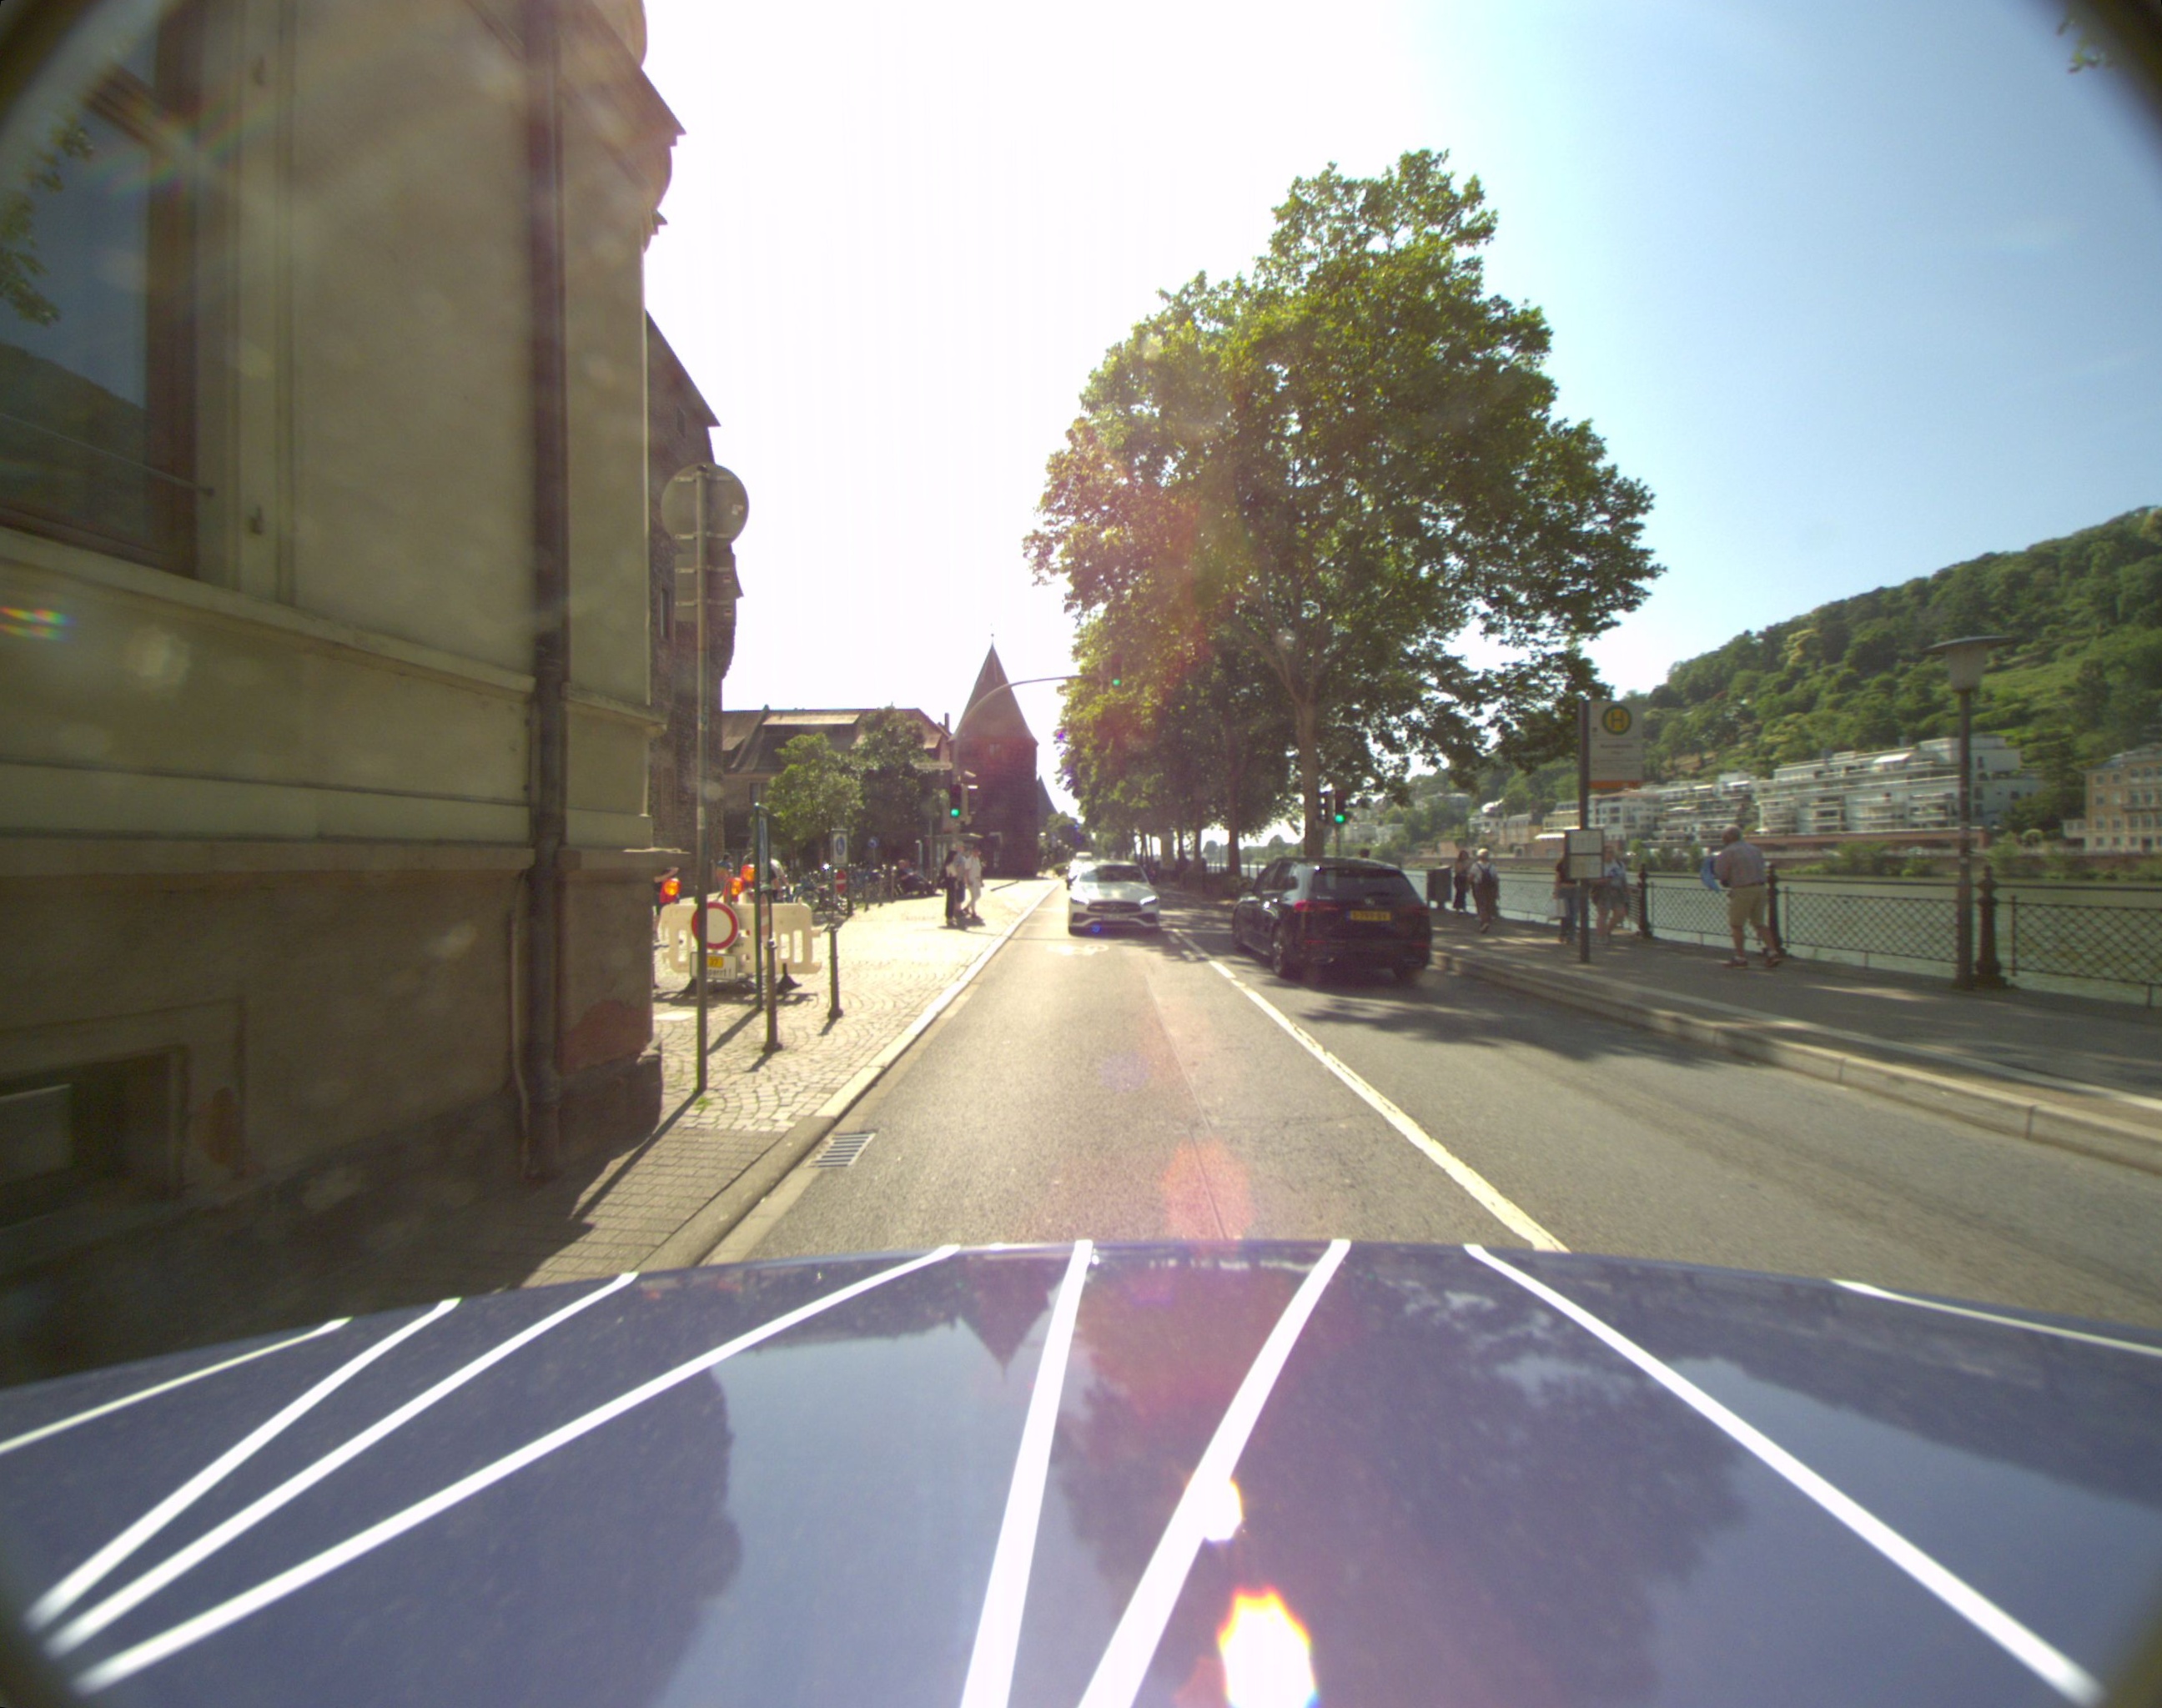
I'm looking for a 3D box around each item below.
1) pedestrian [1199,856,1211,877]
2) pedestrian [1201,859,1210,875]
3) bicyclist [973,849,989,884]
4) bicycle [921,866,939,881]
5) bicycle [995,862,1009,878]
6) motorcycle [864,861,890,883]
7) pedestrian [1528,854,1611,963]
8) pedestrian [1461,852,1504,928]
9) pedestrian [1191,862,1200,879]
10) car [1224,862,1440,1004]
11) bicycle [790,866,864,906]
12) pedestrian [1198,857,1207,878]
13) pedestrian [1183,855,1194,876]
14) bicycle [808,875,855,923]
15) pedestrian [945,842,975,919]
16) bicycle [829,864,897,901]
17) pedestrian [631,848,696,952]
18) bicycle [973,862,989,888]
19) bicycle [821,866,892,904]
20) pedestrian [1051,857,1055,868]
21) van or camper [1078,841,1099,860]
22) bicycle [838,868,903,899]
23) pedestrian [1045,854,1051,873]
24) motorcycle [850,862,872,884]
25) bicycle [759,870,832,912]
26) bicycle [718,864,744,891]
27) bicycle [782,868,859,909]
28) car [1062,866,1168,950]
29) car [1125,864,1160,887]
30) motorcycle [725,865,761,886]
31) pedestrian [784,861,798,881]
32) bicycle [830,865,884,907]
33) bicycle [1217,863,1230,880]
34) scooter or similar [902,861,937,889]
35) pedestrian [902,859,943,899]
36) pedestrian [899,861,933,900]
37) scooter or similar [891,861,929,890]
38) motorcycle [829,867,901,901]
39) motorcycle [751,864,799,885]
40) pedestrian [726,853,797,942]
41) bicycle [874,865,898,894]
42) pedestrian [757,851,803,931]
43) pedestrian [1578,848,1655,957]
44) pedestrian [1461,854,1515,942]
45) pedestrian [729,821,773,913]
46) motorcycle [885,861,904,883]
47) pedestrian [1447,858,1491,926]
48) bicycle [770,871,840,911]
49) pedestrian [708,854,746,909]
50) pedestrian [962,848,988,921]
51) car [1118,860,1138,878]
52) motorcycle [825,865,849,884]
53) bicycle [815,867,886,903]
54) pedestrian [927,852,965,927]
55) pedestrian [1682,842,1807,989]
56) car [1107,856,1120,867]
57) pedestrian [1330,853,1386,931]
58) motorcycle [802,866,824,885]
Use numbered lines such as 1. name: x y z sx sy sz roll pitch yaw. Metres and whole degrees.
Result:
1. pedestrian: 9.860 0.981 60.516 0.793 1.673 0.709 0 1 0
2. pedestrian: 9.961 1.046 60.679 0.633 1.312 0.553 0 1 0
3. bicyclist: -4.608 0.568 34.924 0.711 1.619 0.886 0 1 -7
4. bicycle: -10.805 1.382 54.518 0.659 0.996 1.714 -1 0 11
5. bicycle: -5.851 1.187 56.509 0.845 1.146 1.844 0 0 0
6. motorcycle: -11.693 1.015 43.658 0.740 1.229 2.272 0 0 3
7. pedestrian: 7.838 0.846 12.226 0.837 1.703 0.782 0 1 0
8. pedestrian: 9.211 0.812 17.451 0.620 1.690 0.696 -1 1 0
9. pedestrian: 9.085 1.303 60.533 0.633 1.312 0.553 0 0 0
10. car: 3.263 0.920 10.823 1.705 1.509 4.405 2 0 2
11. bicycle: -7.863 0.981 23.537 2.085 1.191 0.527 -1 -1 -1
12. pedestrian: 9.721 1.076 60.632 0.633 1.618 0.553 0 1 0
13. pedestrian: 8.725 0.938 61.610 0.760 1.720 0.730 0 1 0
14. bicycle: -6.000 1.065 18.360 0.509 0.998 1.579 -1 3 3
15. pedestrian: -2.968 0.638 18.672 0.617 1.841 0.730 0 1 1
16. bicycle: -7.447 0.964 26.040 2.085 1.191 0.776 -1 -1 -1
17. pedestrian: -8.009 0.850 14.590 0.788 1.930 0.807 0 1 34
18. bicycle: -4.621 0.949 35.049 0.691 1.123 2.008 0 0 -7
19. bicycle: -7.442 1.015 25.256 2.085 1.191 0.776 -1 -1 -1
20. pedestrian: -4.015 1.196 110.051 0.592 1.662 0.442 0 0 0
21. van or camper: 0.916 -0.407 94.085 2.437 2.271 6.204 0 0 0
22. bicycle: -7.425 1.035 26.857 2.029 1.059 0.801 -1 -1 -1
23. pedestrian: -3.274 0.958 75.506 0.556 1.844 1.023 0 0 1
24. motorcycle: -12.608 1.076 43.553 0.671 1.224 1.807 -1 -1 3
25. bicycle: -7.931 1.026 21.148 1.797 1.104 0.563 -1 -1 -1
26. bicycle: -15.527 1.030 33.726 0.527 1.154 1.925 0 0 -9
27. bicycle: -7.858 1.032 22.934 2.085 1.191 0.608 -1 -1 -1
28. car: 0.639 1.013 15.986 1.875 1.415 4.745 1 0 1
29. car: 3.873 1.344 48.696 1.845 1.262 4.262 3 0 0
30. motorcycle: -20.190 1.277 45.470 0.598 1.229 2.050 0 0 27
31. pedestrian: -21.542 1.272 56.448 0.660 1.413 0.675 0 2 31
32. bicycle: -8.363 1.189 28.390 1.552 1.190 0.726 -15 -2 7
33. bicycle: 10.033 1.200 53.539 0.564 1.146 1.844 -2 0 0
34. scooter or similar: -7.365 0.949 34.731 1.434 1.208 0.652 -2 1 0
35. pedestrian: -5.348 0.837 25.749 1.250 1.300 0.693 0 1 -1
36. pedestrian: -5.449 0.866 25.070 0.963 1.274 0.693 -1 1 -1
37. scooter or similar: -7.476 0.944 33.256 1.434 1.208 0.652 -2 1 0
38. motorcycle: -7.384 1.010 26.040 2.210 1.097 0.776 -1 -1 -1
39. motorcycle: -17.308 1.175 43.038 2.342 1.140 0.878 -1 0 4
40. pedestrian: -6.604 0.869 15.715 0.924 1.755 0.992 0 1 32
41. bicycle: -7.973 1.025 31.036 0.548 1.125 1.733 -1 0 -29
42. pedestrian: -6.779 0.797 17.098 0.806 1.743 0.907 -1 1 -33
43. pedestrian: 8.704 0.762 12.375 0.654 1.703 0.793 1 0 0
44. pedestrian: 7.757 0.813 14.521 0.495 1.608 0.991 0 0 0
45. pedestrian: -7.173 0.273 16.515 0.657 1.949 0.937 -1 1 -37
46. motorcycle: -10.800 1.030 44.013 0.660 1.229 2.216 0 0 -3
47. pedestrian: 9.585 0.923 18.794 0.550 1.599 0.911 -3 0 0
48. bicycle: -8.071 1.069 22.275 1.797 1.104 0.608 -1 -1 -1
49. pedestrian: -11.498 0.872 24.707 0.760 1.750 0.960 0 1 0
50. pedestrian: -2.526 0.716 18.159 0.528 1.702 0.665 0 1 0
51. car: 4.285 1.349 69.964 1.705 1.509 4.405 3 0 2
52. motorcycle: -14.428 1.214 44.961 0.877 1.087 1.905 0 0 -3
53. bicycle: -7.431 0.989 24.535 2.085 1.079 0.604 -1 -1 -1
54. pedestrian: -3.028 0.779 17.049 0.717 1.666 0.682 0 1 0
55. pedestrian: 8.296 0.731 9.551 0.713 1.754 0.972 0 1 0
56. car: 4.975 1.129 118.164 1.875 1.661 4.746 1 -1 1
57. pedestrian: 6.518 0.865 17.892 1.022 1.762 0.770 0 1 41
58. motorcycle: -15.478 1.212 43.916 0.631 1.074 1.929 0 -1 -3
